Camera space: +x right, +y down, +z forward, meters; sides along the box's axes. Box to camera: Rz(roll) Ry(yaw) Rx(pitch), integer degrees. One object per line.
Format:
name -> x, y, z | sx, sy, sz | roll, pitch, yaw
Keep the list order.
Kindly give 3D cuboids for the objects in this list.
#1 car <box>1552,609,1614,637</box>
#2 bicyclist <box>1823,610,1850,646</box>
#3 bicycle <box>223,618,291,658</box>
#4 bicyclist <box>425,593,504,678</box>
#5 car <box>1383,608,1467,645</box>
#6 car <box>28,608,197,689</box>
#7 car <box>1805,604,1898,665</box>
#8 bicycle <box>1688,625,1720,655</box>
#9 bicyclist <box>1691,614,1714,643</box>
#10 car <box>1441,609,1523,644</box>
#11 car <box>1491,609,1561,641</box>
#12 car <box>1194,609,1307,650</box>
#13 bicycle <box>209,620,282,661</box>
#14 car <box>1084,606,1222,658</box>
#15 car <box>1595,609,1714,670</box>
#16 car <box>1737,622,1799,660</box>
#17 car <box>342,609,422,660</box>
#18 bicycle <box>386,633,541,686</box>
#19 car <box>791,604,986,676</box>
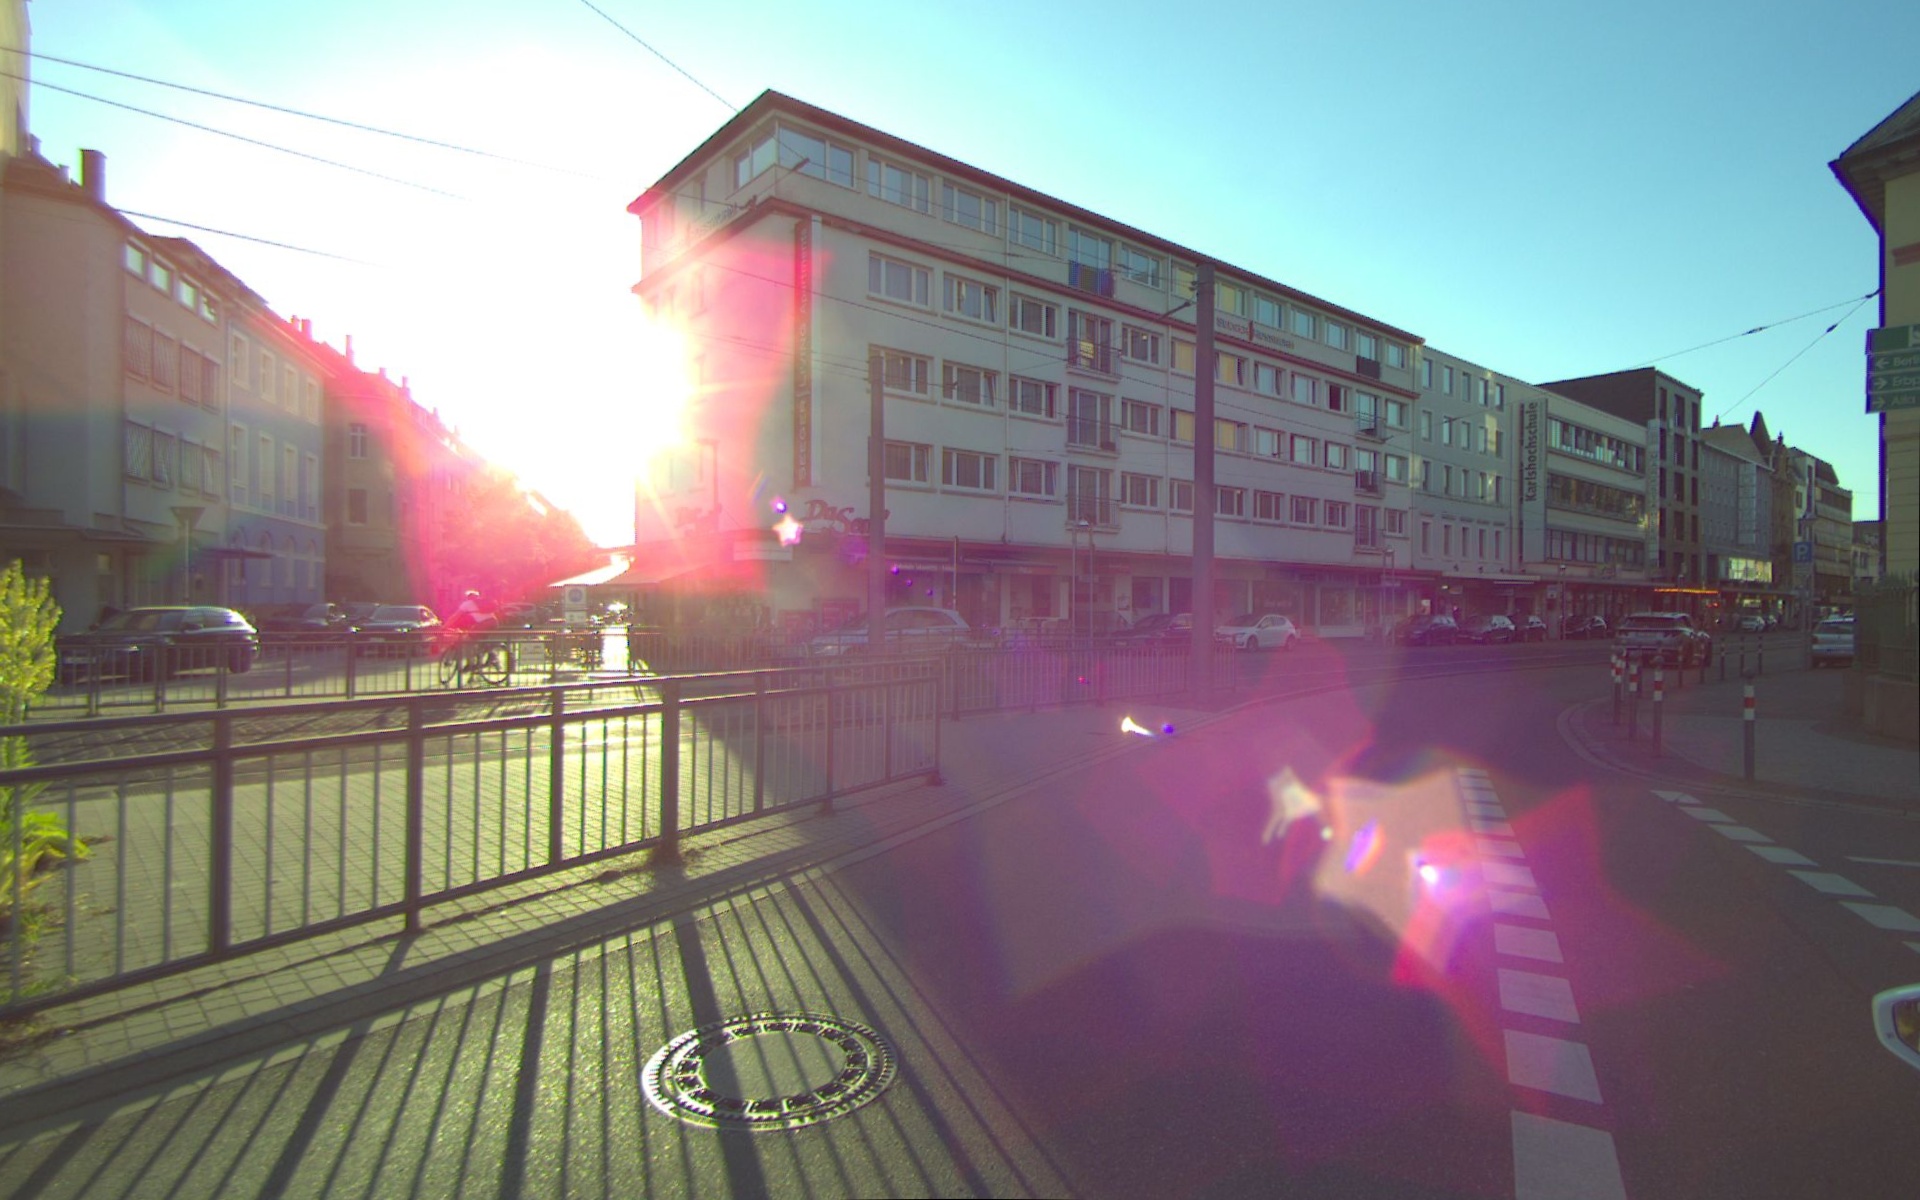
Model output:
car -> 38.202, 1.401, 61.583 | 3.963, 1.688, 1.979 | 1, 0, -37
bicyclist -> 38.567, 1.220, 44.209 | 0.781, 1.589, 0.822 | 1, 0, -42
bicycle -> -22.538, 1.226, 32.244 | 1.663, 1.202, 0.483 | 3, -2, -23
bicyclist -> -8.740, 0.616, 17.735 | 0.911, 1.460, 0.836 | 0, 0, 10
car -> 21.994, 1.228, 47.482 | 3.963, 1.688, 1.979 | 1, 0, -37
car -> -17.147, 0.905, 20.553 | 1.715, 1.455, 4.340 | 1, 0, -28
car -> 26.790, 0.994, 30.151 | 3.413, 1.731, 1.716 | 1, 0, -42
bicycle -> 52.729, 2.802, 71.176 | 3.316, 2.040, 1.169 | 1, 0, -42
bicyclist -> 52.532, 2.005, 71.063 | 1.038, 2.040, 1.155 | 1, 0, -42
car -> 26.766, 1.329, 51.478 | 4.595, 1.688, 1.979 | 1, 0, -37
car -> 31.666, 1.372, 56.173 | 3.963, 1.688, 1.979 | 1, 0, -37
car -> 11.185, 1.096, 38.568 | 4.360, 1.484, 1.979 | 1, 0, -37
bicycle -> -22.109, 1.253, 31.115 | 1.694, 1.202, 0.537 | 3, -2, -23
car -> 6.686, 1.066, 34.605 | 4.794, 1.688, 1.979 | 1, 0, -37
car -> 21.244, 1.149, 30.654 | 4.500, 1.683, 1.926 | 1, 0, -41
car -> 41.012, 2.034, 50.961 | 3.969, 1.833, 1.792 | 1, -1, -41
car -> -19.419, 1.114, 33.685 | 1.868, 1.595, 4.206 | 1, -1, -36
bicycle -> -8.743, 1.041, 17.724 | 2.373, 0.858, 0.847 | 0, -1, 9
car -> -1.709, 0.915, 24.460 | 4.238, 1.580, 2.183 | 1, 0, -36
